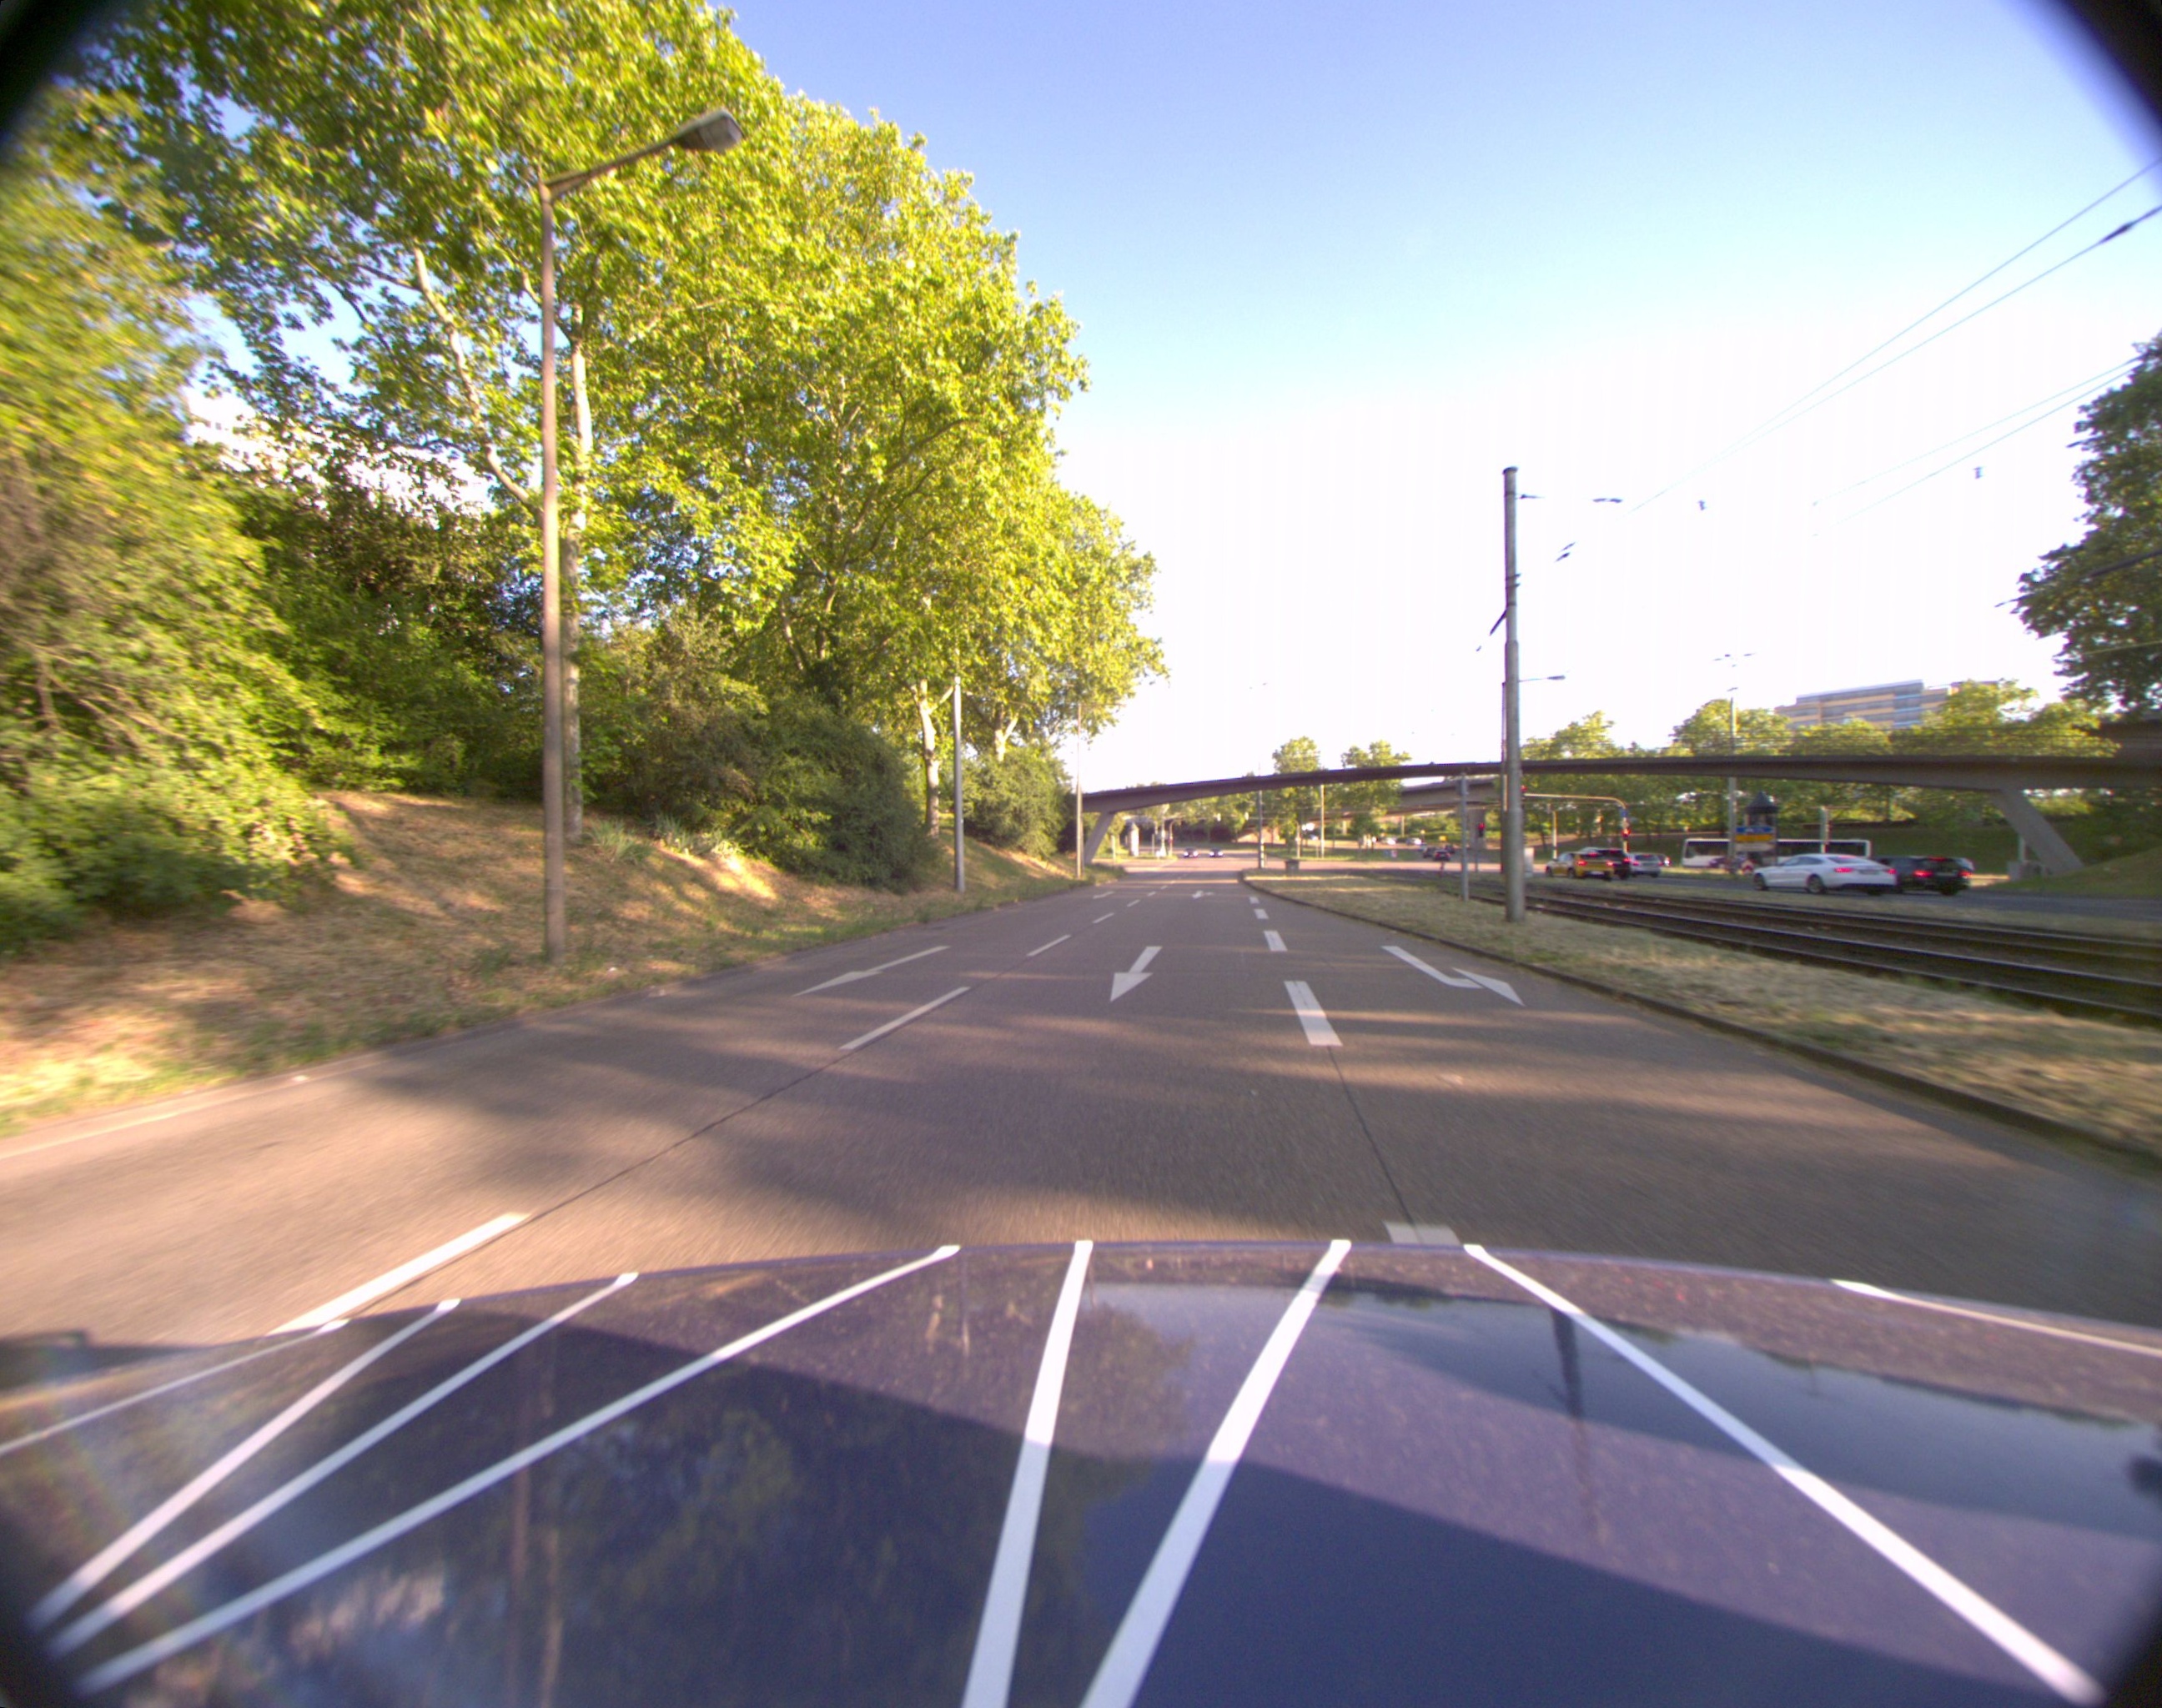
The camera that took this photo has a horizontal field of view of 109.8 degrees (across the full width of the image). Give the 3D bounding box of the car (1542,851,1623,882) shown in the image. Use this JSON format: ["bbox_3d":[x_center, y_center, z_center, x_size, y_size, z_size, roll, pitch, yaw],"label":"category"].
[{"bbox_3d":[24.577,0.572,37.420,1.841,1.408,4.021,-1,1,9],"label":"car"}]

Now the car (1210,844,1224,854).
[{"bbox_3d":[20.845,-0.705,116.687,1.997,1.477,4.002,-1,0,8],"label":"car"}]

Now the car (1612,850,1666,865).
[{"bbox_3d":[53.618,0.339,73.134,4.083,1.346,1.720,1,2,33],"label":"car"}]

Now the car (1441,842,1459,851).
[{"bbox_3d":[60.479,-1.212,124.608,2.008,1.435,4.258,-1,1,17],"label":"car"}]

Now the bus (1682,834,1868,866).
[{"bbox_3d":[65.936,-0.438,72.841,12.815,2.938,2.837,1,2,35],"label":"bus"}]

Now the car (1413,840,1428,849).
[{"bbox_3d":[61.409,-1.719,137.475,2.007,1.435,4.867,-1,1,20],"label":"car"}]

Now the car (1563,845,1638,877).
[{"bbox_3d":[29.243,0.353,42.920,1.841,1.645,4.439,-2,0,10],"label":"car"}]

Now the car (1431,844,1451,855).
[{"bbox_3d":[44.543,-0.593,94.135,1.688,1.302,4.314,-1,1,17],"label":"car"}]

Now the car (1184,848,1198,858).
[{"bbox_3d":[16.682,-0.155,114.799,1.997,1.477,4.003,-1,0,9],"label":"car"}]

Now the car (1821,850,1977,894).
[{"bbox_3d":[30.445,0.631,28.502,1.841,1.473,4.440,-2,0,14],"label":"car"}]

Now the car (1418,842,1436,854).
[{"bbox_3d":[48.898,-0.843,107.490,1.792,1.641,4.362,-1,1,17],"label":"car"}]

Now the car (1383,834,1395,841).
[{"bbox_3d":[72.665,-3.967,179.308,1.853,1.600,4.311,0,1,14],"label":"car"}]

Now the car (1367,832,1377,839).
[{"bbox_3d":[71.796,-4.563,187.584,1.853,1.856,4.150,0,1,15],"label":"car"}]

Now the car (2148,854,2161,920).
[{"bbox_3d":[23.548,0.692,14.205,1.656,1.407,4.262,-1,0,10],"label":"car"}]

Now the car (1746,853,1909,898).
[{"bbox_3d":[25.933,0.677,26.656,1.841,1.407,4.603,0,0,11],"label":"car"}]

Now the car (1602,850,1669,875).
[{"bbox_3d":[34.635,0.521,47.612,1.689,1.407,4.441,-1,1,12],"label":"car"}]
